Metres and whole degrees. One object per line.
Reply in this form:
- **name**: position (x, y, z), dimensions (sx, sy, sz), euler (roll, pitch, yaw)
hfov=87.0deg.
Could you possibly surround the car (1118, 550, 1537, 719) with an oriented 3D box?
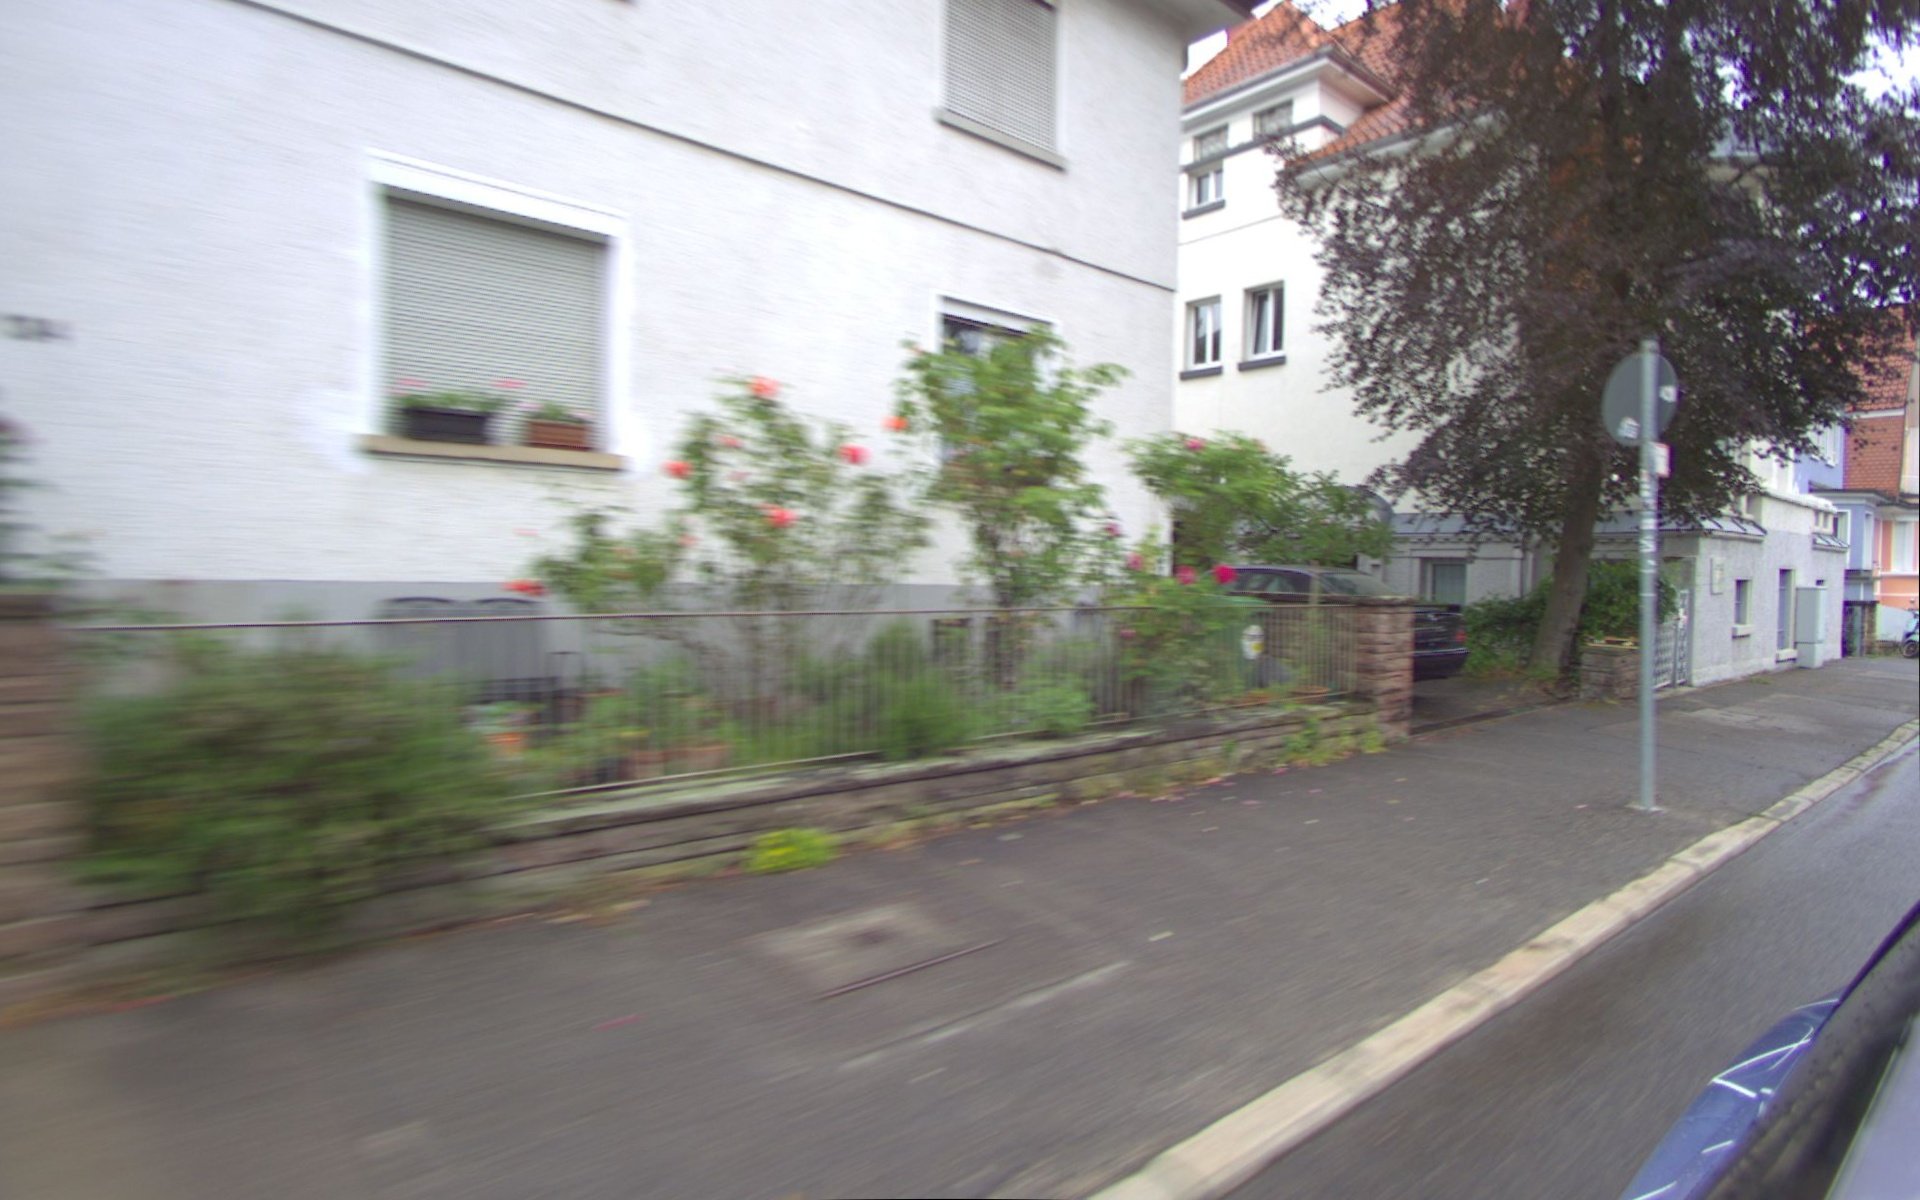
- **car**: position (4.016, 0.250, 11.666), dimensions (1.941, 1.504, 4.160), euler (-5, 4, -36)

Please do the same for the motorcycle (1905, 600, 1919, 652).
- **motorcycle**: position (24.367, 0.673, 25.215), dimensions (2.113, 1.240, 0.696), euler (1, 6, -36)
